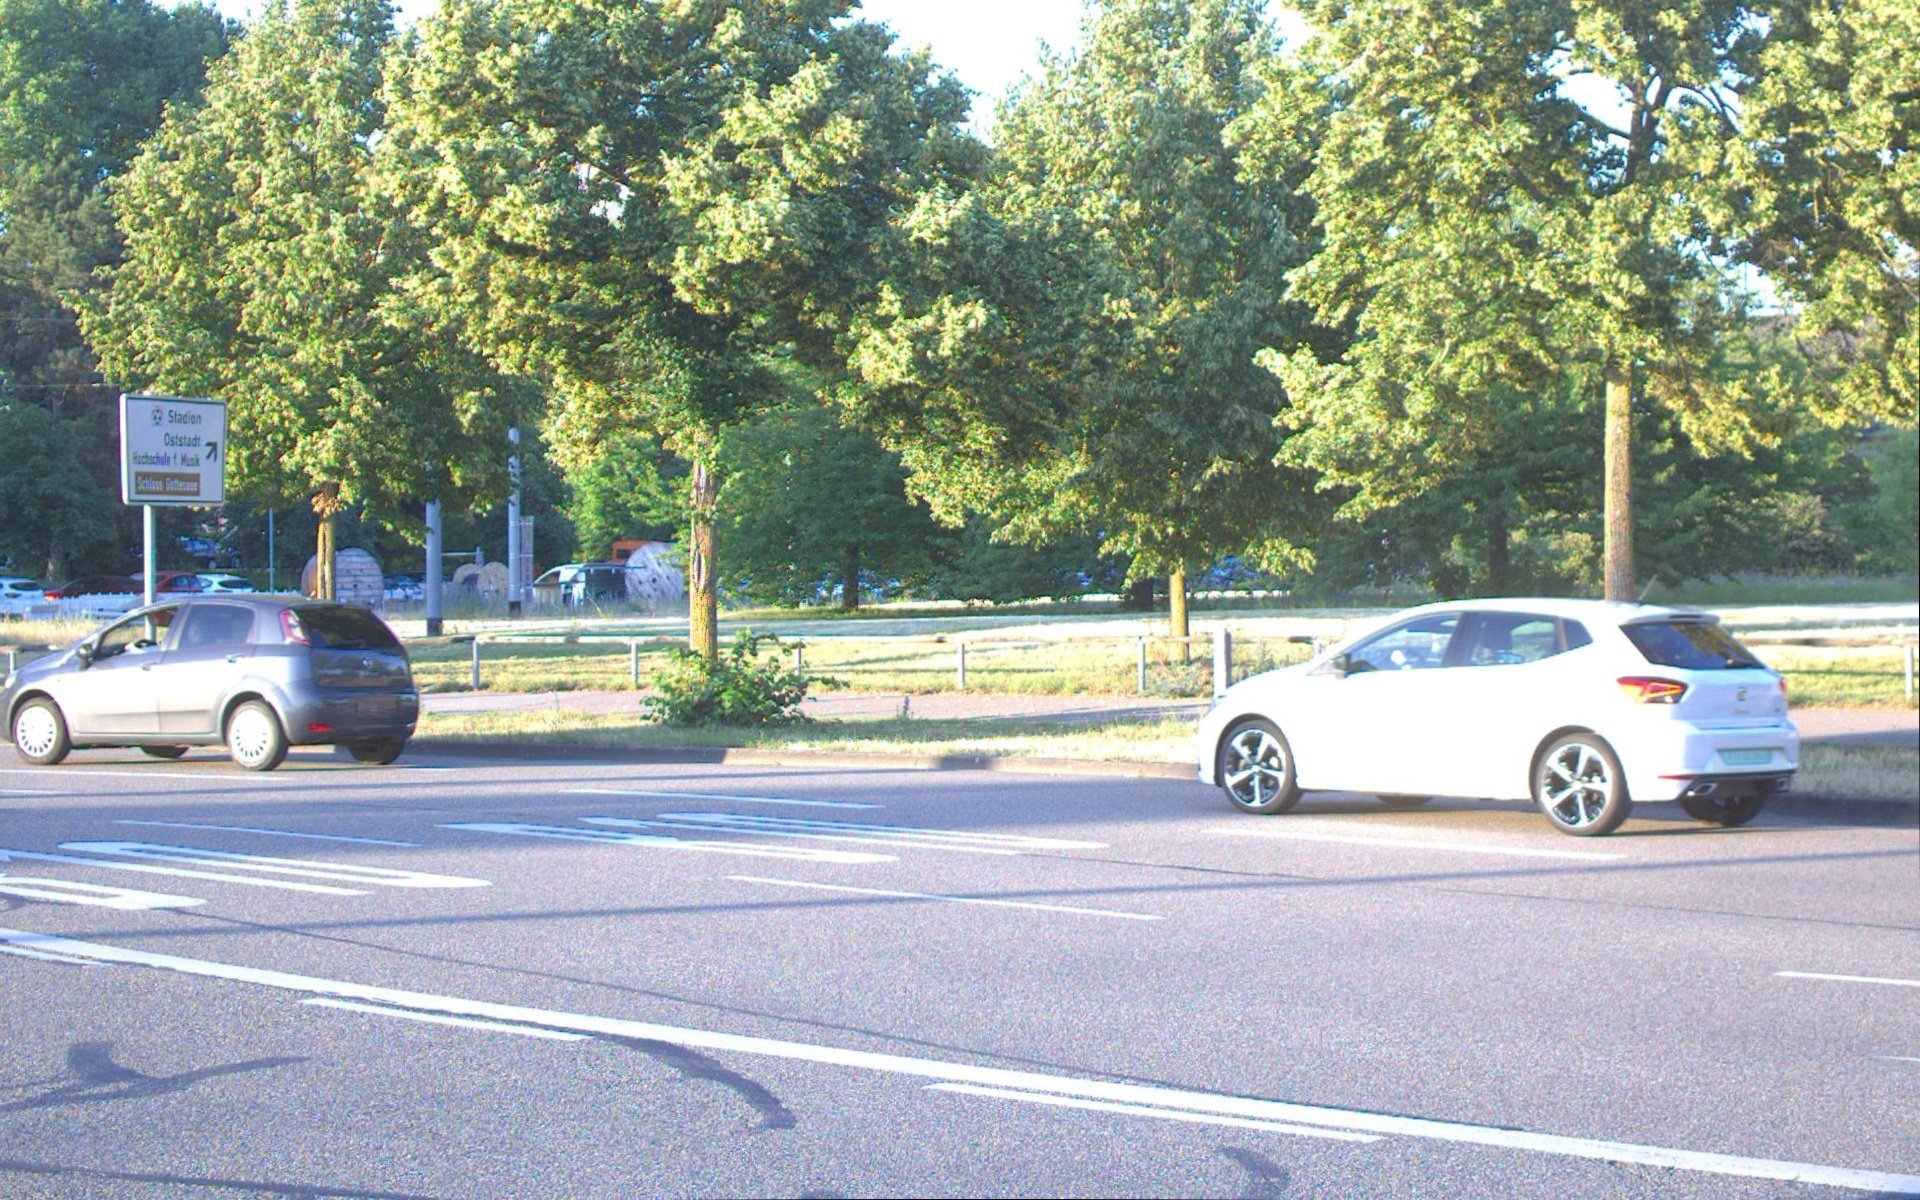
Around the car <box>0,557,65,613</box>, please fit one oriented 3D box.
[{"bbox_3d":[-35.231,-0.551,125.809,4.582,2.007,2.001,-1,1,-9],"label":"car"}]

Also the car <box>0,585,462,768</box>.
[{"bbox_3d":[-6.534,0.613,29.805,4.156,1.449,1.864,0,1,32],"label":"car"}]

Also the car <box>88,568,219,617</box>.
[{"bbox_3d":[-26.773,-0.261,114.097,3.994,1.598,1.996,0,1,33],"label":"car"}]

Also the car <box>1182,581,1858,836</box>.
[{"bbox_3d":[3.521,0.621,22.086,1.863,1.449,3.969,-1,1,-43],"label":"car"}]

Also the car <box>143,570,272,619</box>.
[{"bbox_3d":[-25.370,-0.205,115.827,3.994,1.598,1.996,0,1,33],"label":"car"}]

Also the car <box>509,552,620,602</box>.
[{"bbox_3d":[-13.227,-0.775,114.885,1.734,1.612,3.998,-1,1,-41],"label":"car"}]

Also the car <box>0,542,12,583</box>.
[{"bbox_3d":[-42.411,-1.577,145.366,3.988,1.700,2.000,0,1,7],"label":"car"}]

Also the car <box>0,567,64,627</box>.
[{"bbox_3d":[-33.146,-0.093,117.676,4.582,2.007,2.001,-1,1,-9],"label":"car"}]

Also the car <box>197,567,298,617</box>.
[{"bbox_3d":[-26.818,-0.321,129.306,1.994,1.746,4.597,-1,2,-37],"label":"car"}]
